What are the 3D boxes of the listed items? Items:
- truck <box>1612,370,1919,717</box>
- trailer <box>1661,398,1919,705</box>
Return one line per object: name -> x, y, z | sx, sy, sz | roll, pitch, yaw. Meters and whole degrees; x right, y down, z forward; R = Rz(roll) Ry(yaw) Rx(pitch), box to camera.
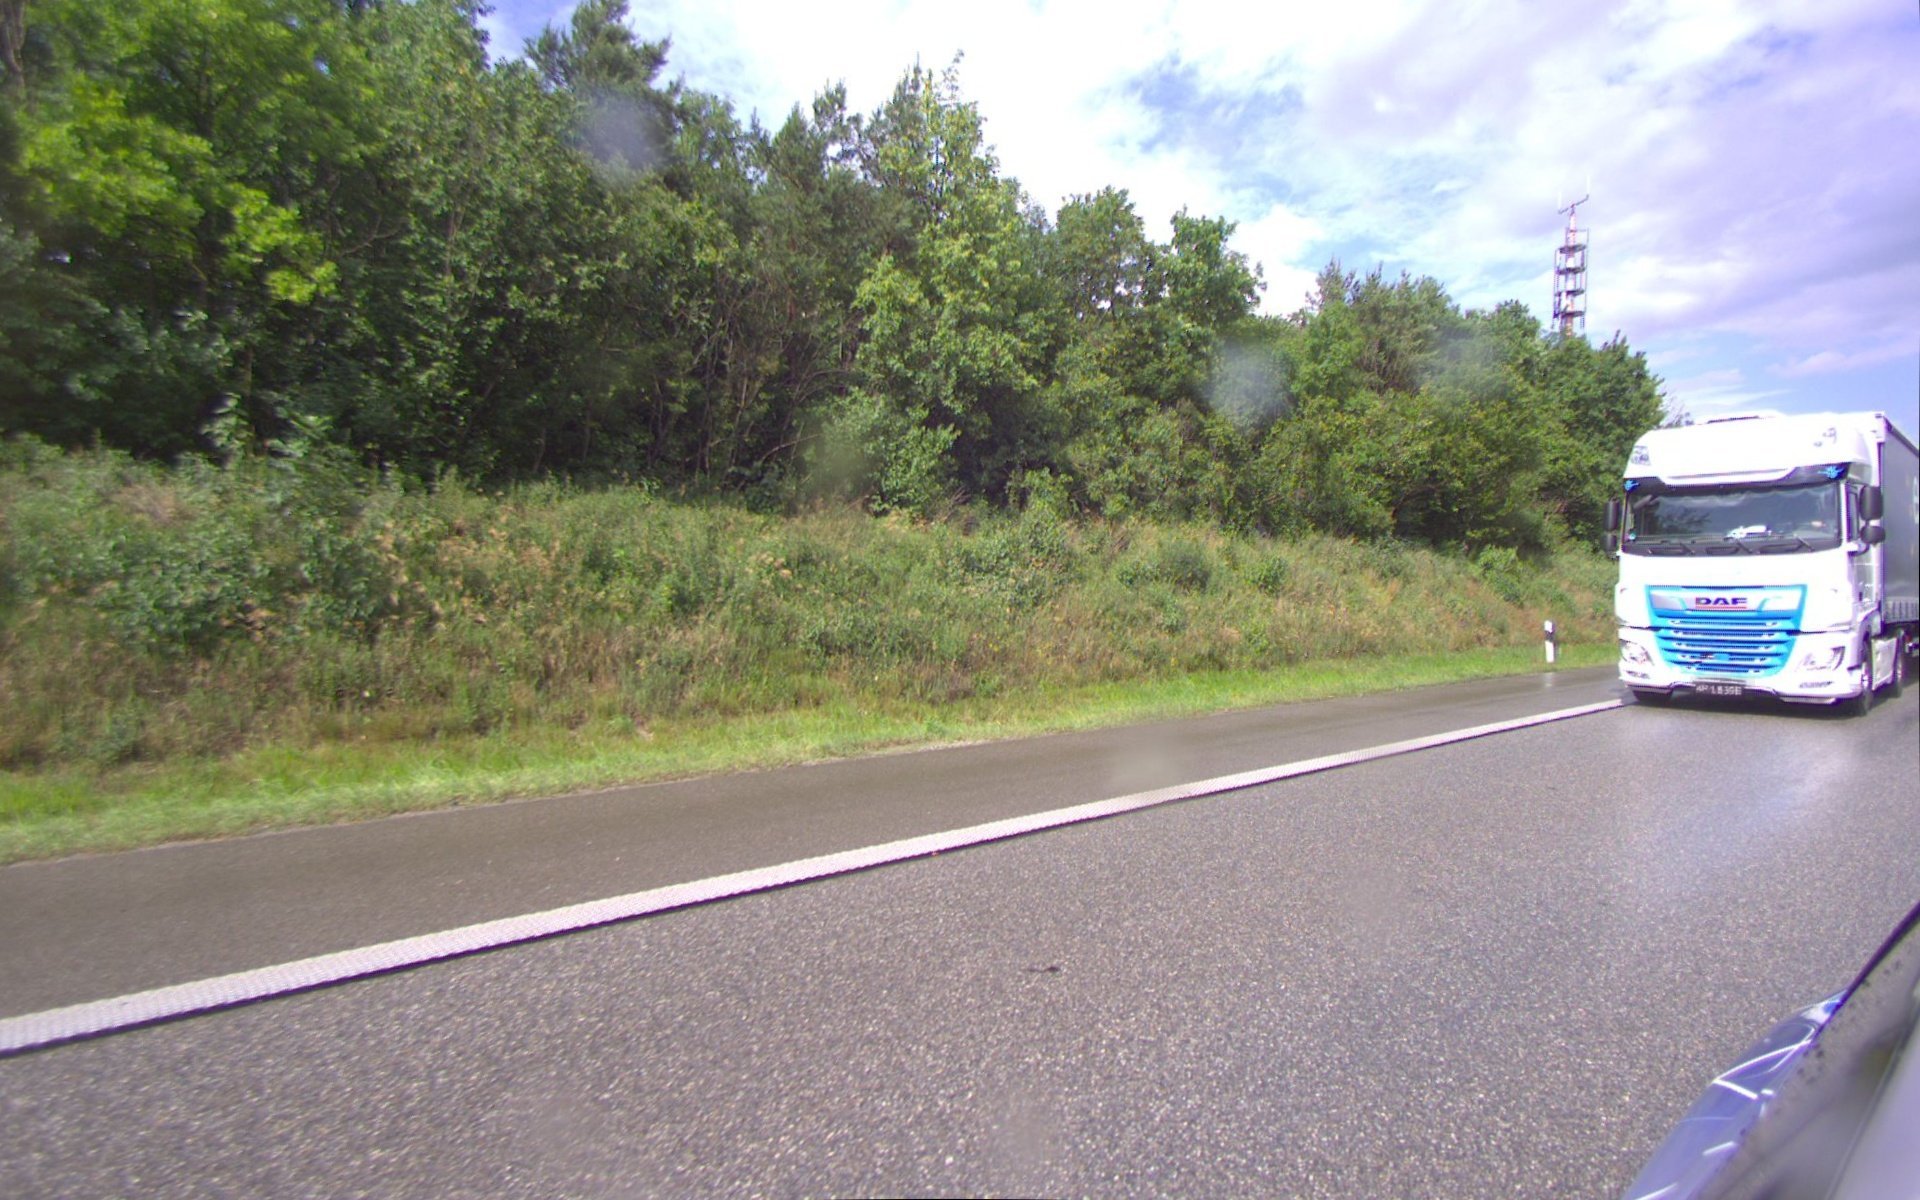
truck -> 12.445, -0.688, 15.168 | 7.163, 4.046, 2.611 | 0, 0, -41
trailer -> 16.704, -0.687, 18.917 | 13.819, 4.046, 2.639 | 0, 0, -41
